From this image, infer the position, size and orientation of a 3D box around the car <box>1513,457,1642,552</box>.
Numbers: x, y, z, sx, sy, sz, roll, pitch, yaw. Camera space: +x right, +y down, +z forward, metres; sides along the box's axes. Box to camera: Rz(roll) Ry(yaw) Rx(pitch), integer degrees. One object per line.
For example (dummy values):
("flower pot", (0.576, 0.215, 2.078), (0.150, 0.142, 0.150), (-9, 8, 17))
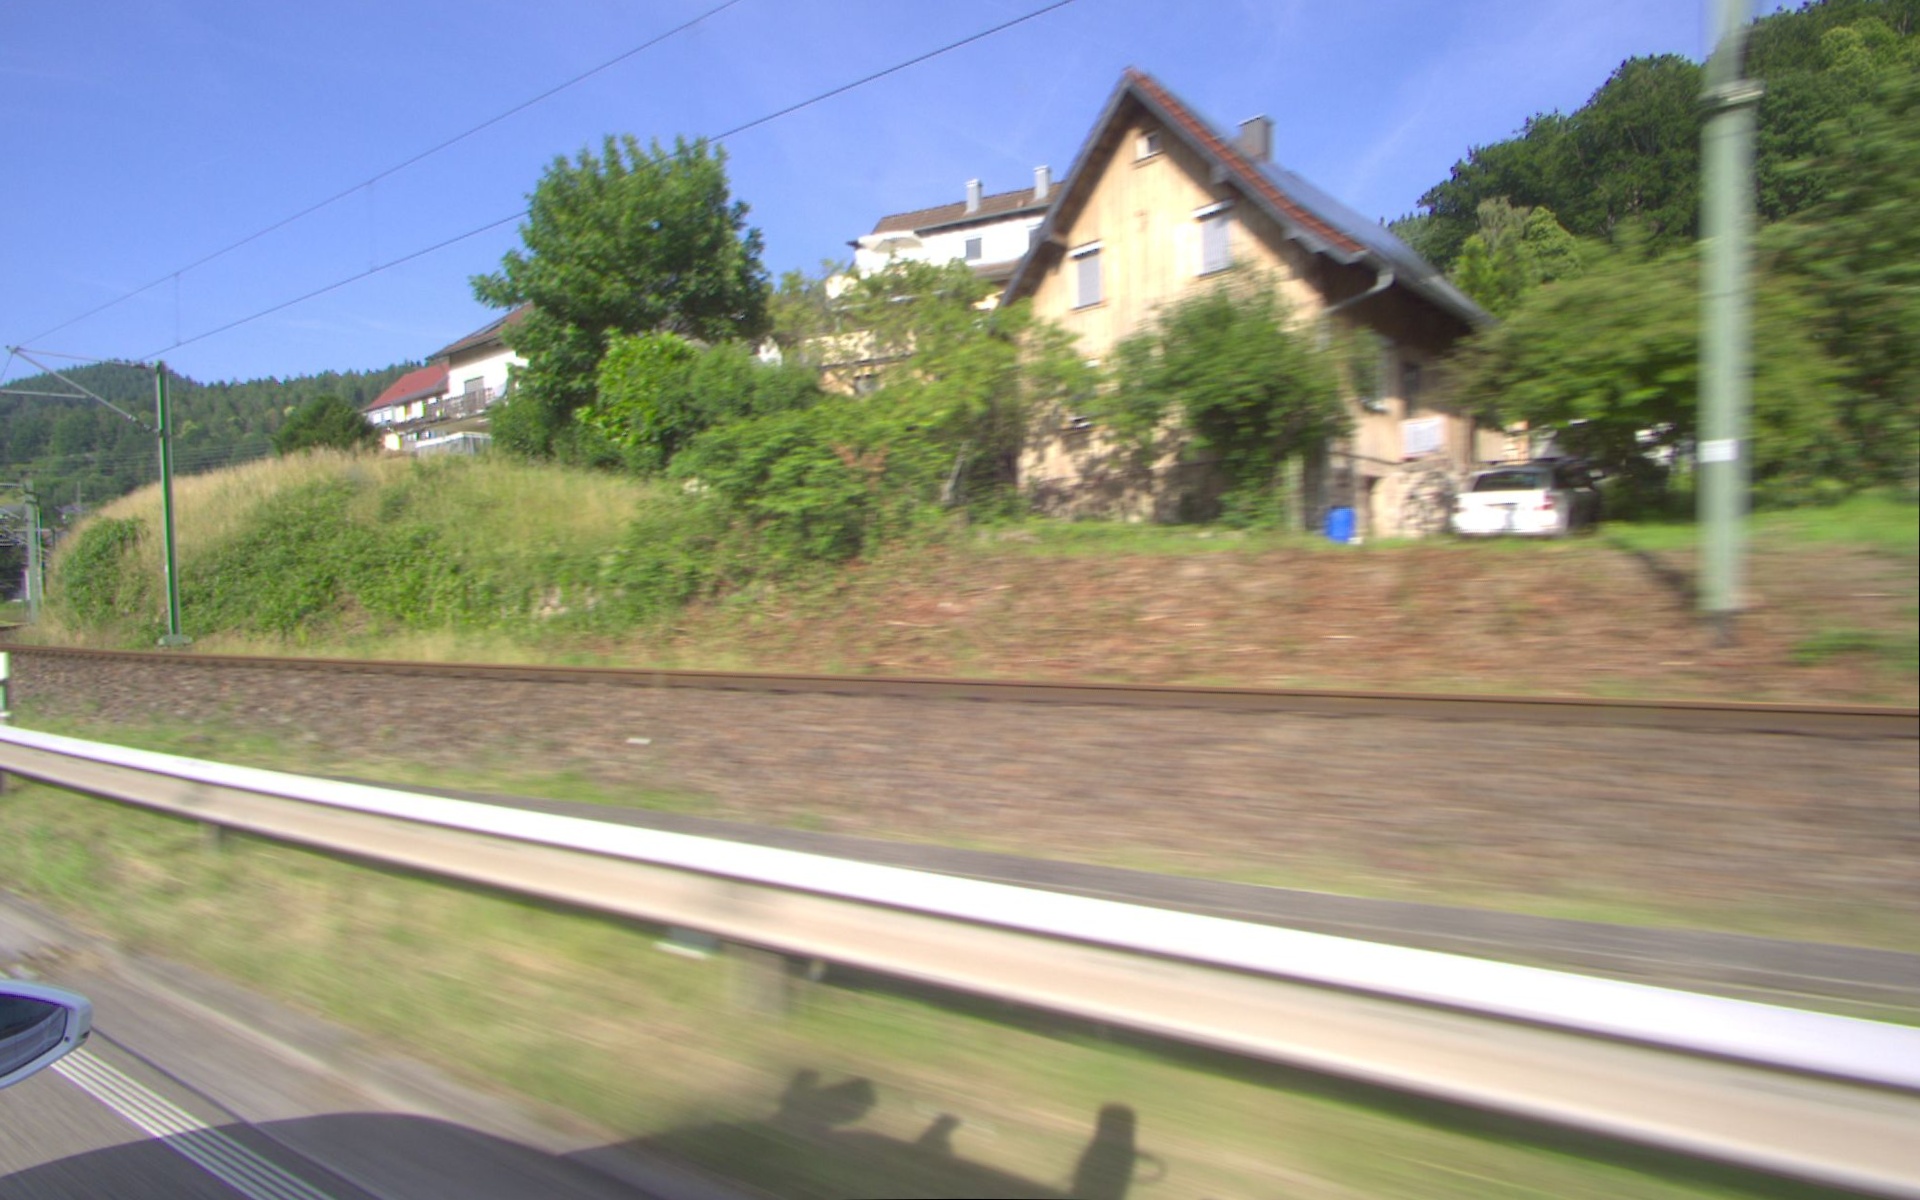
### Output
("car", (14.589, -2.138, 23.561), (1.758, 1.603, 4.433), (-3, -3, 42))

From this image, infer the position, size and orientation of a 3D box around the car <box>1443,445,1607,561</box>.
("car", (10.900, -1.730, 19.170), (1.758, 1.603, 4.433), (-3, -3, 42))
